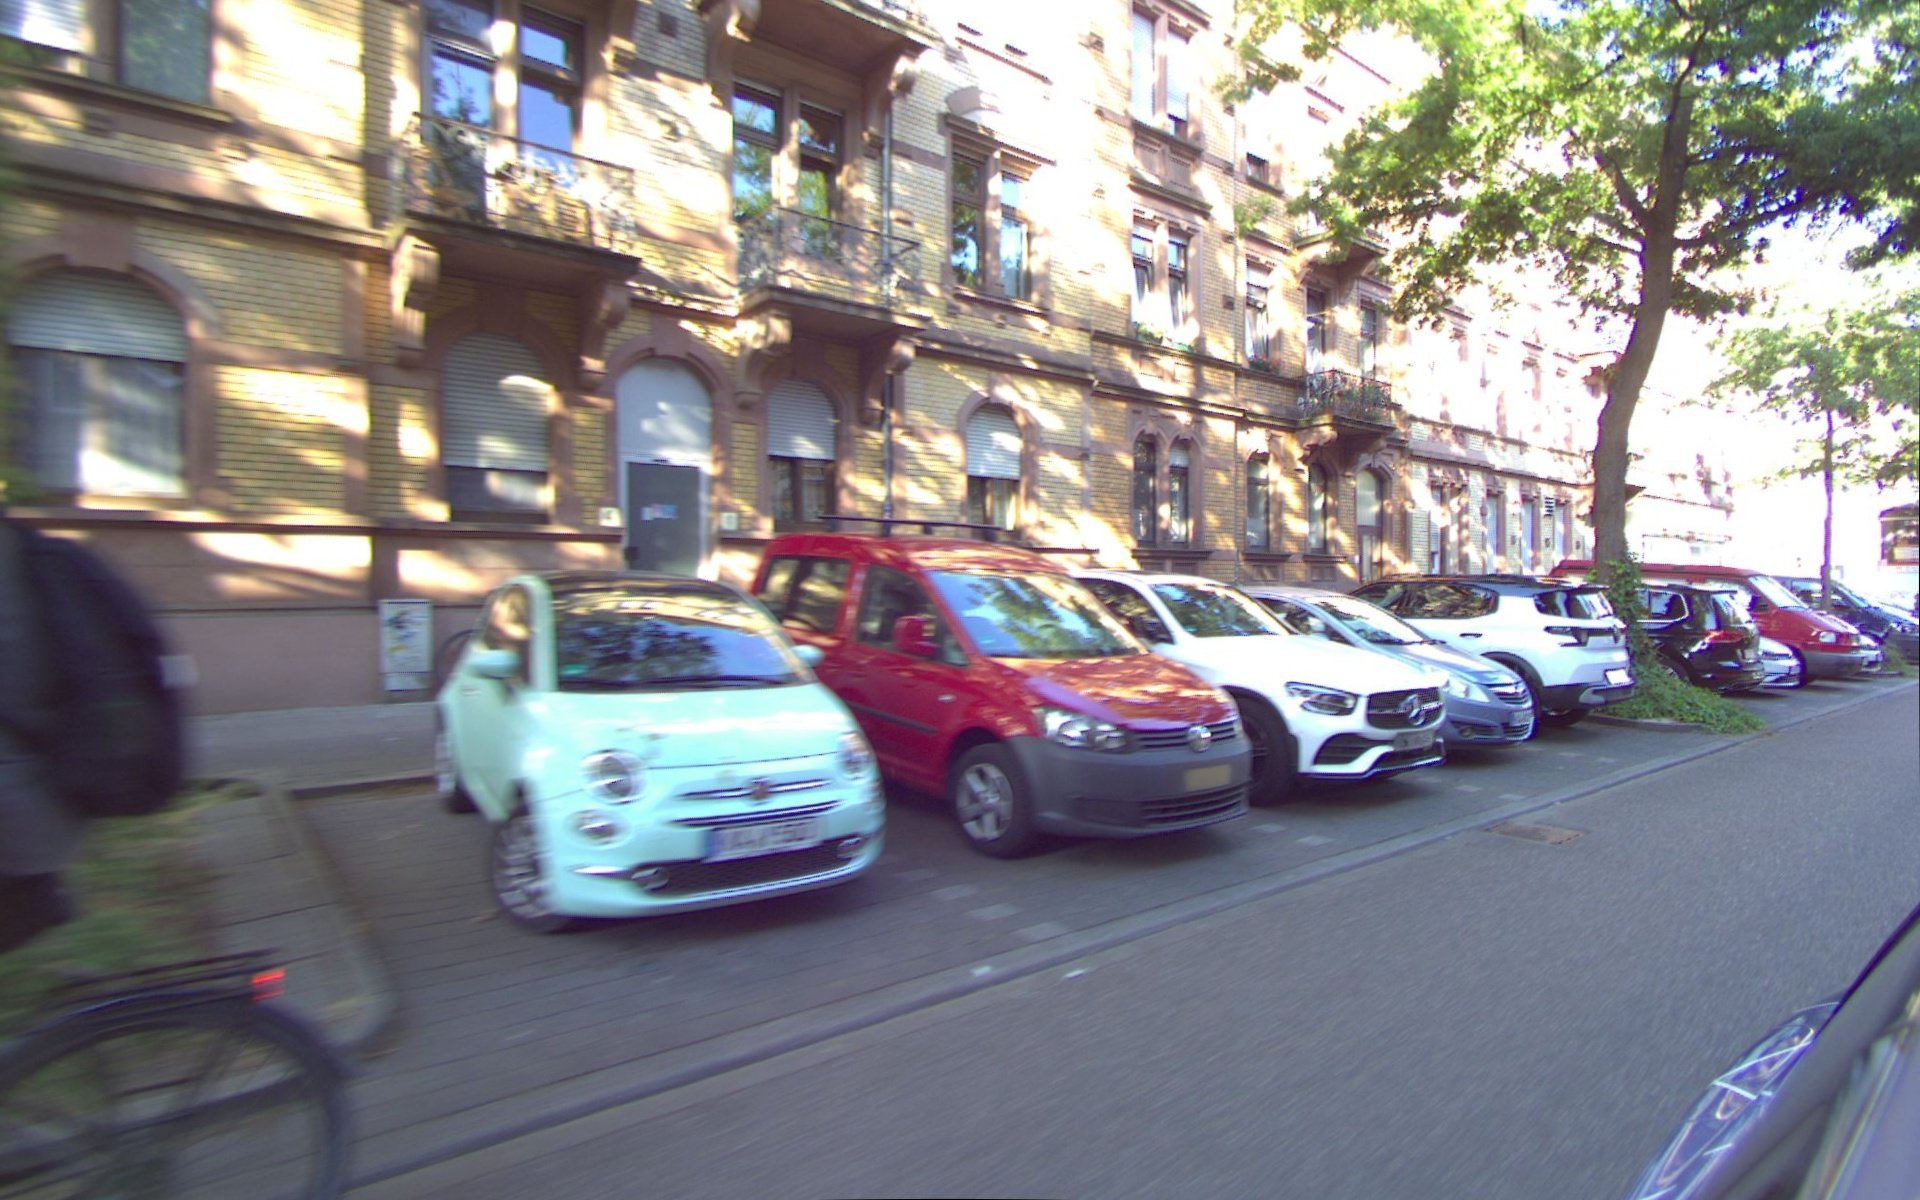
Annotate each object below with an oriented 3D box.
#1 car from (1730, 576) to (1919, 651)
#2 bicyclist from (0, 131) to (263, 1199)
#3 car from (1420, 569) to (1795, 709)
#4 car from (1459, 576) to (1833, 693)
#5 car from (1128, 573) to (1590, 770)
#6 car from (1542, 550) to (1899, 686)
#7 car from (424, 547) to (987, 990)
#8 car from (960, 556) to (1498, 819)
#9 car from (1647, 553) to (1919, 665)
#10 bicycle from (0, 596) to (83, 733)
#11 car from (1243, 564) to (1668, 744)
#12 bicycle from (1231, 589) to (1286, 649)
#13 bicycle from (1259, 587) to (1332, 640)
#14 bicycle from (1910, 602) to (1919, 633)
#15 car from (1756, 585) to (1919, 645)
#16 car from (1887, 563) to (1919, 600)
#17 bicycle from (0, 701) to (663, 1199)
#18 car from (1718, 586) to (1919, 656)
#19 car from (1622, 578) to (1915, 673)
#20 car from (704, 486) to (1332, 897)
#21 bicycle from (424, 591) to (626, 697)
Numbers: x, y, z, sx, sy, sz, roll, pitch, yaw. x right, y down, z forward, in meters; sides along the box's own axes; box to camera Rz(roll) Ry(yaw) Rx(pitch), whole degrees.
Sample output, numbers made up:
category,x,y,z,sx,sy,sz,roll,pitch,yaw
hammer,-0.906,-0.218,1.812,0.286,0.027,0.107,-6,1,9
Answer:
category,x,y,z,sx,sy,sz,roll,pitch,yaw
car,22.757,0.290,25.736,1.814,1.699,4.709,-1,2,-29
bicyclist,-1.869,0.251,1.621,1.185,1.812,0.998,0,0,-38
car,9.183,0.422,14.666,1.804,1.647,4.198,-1,3,-38
car,10.951,0.424,16.517,1.844,1.533,4.690,-1,3,-37
car,3.808,0.525,10.288,1.761,1.451,4.023,-1,3,-37
car,13.188,0.181,17.846,1.845,2.058,4.688,-1,3,-38
car,-1.669,0.512,5.472,1.814,1.473,3.673,2,2,-33
car,1.925,0.488,8.662,1.813,1.575,4.364,2,2,-31
car,18.663,0.161,22.713,1.956,2.243,5.034,-1,1,-38
bicycle,-7.806,0.491,7.566,1.859,1.013,0.554,0,2,-39
car,5.512,0.442,11.680,1.773,1.647,4.019,-1,3,-40
bicycle,5.441,0.318,18.370,0.403,0.974,1.845,3,3,33
bicycle,6.602,0.245,19.867,1.834,0.974,0.405,0,3,-39
bicycle,30.198,0.575,30.723,0.348,0.938,1.935,-1,4,-39
car,24.631,0.380,27.182,1.816,1.430,4.801,-1,2,-36
car,86.223,-1.678,90.716,3.302,3.219,7.987,0,1,33
bicycle,-2.015,0.878,1.501,2.870,1.172,0.998,0,1,-38
car,20.936,0.449,24.279,1.693,1.554,4.116,-1,1,-38
car,15.346,0.390,19.393,1.845,1.529,4.064,-1,3,-39
car,0.043,0.326,7.095,1.816,1.948,4.456,1,2,-39
bicycle,-4.511,0.419,10.585,1.859,1.013,0.554,0,2,-39
